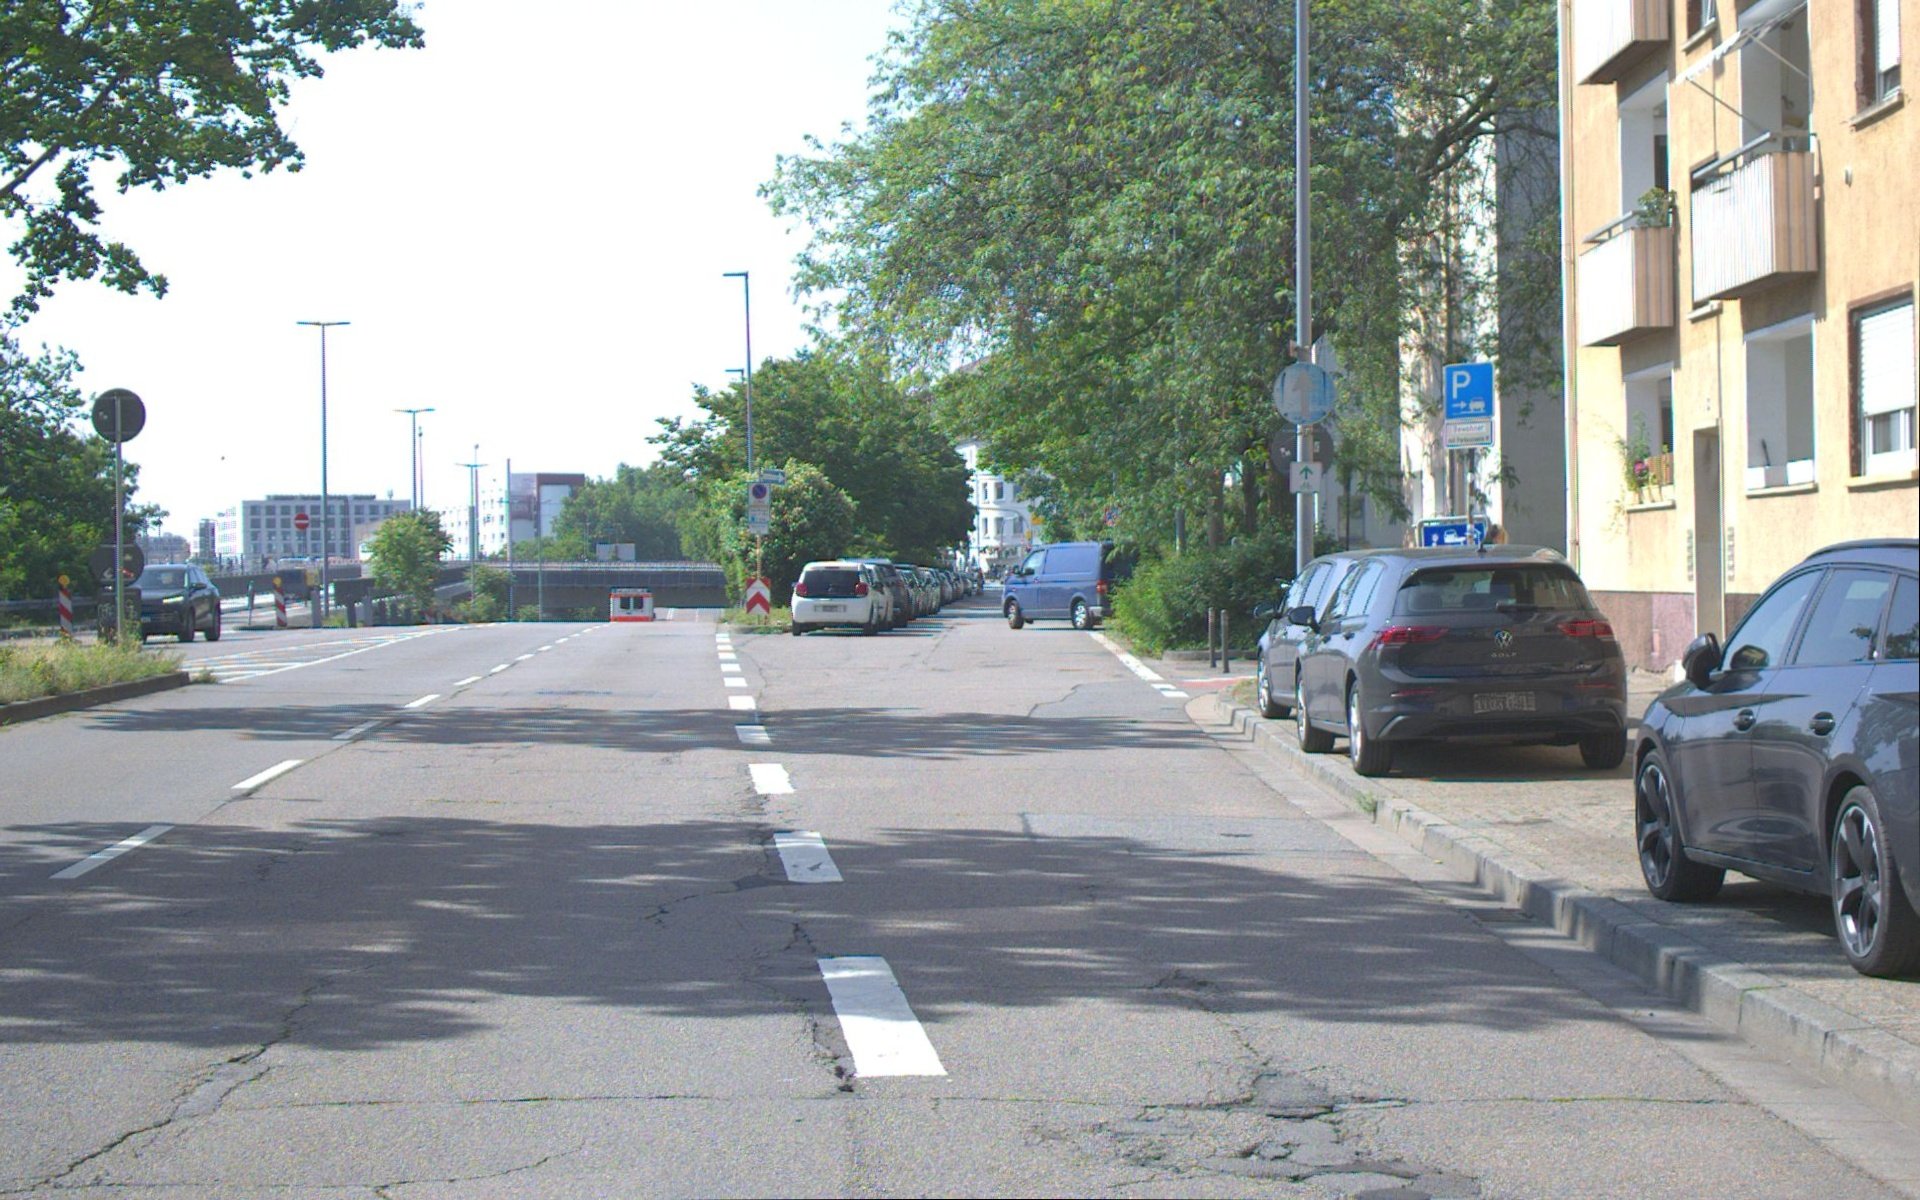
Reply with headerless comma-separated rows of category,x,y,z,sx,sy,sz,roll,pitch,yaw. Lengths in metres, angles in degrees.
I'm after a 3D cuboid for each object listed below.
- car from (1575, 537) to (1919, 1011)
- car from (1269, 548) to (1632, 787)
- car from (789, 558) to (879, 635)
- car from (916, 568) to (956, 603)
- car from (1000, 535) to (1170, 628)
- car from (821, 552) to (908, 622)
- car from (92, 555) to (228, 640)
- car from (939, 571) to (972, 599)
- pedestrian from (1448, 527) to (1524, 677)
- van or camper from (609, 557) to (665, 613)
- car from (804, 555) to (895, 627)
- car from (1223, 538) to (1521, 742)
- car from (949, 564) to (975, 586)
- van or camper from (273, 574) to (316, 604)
car,3.682,0.489,12.485,1.800,1.433,4.590,-1,1,-3
car,3.249,0.389,23.540,1.710,1.457,4.256,-1,1,-2
car,-2.549,-0.089,69.989,1.619,1.500,3.461,0,1,1
car,-1.064,-0.650,154.979,1.664,1.504,4.008,2,1,1
car,2.720,-0.430,75.860,1.882,1.915,4.009,1,1,-30
car,-2.257,-0.323,80.085,1.771,1.574,4.187,0,1,-5
car,-16.867,-0.074,72.700,1.993,1.728,4.730,0,1,-3
car,-0.252,-0.921,208.024,1.993,1.651,4.000,0,0,0
pedestrian,5.766,0.014,37.719,0.655,1.603,0.824,-3,1,2
van or camper,-16.409,-0.766,175.023,2.296,2.780,5.571,0,0,0
car,-2.372,-0.213,74.655,1.721,1.500,4.132,0,1,1
car,3.339,0.270,28.595,1.703,1.509,4.092,-2,1,-4
car,0.157,-1.904,260.680,1.993,1.651,4.000,0,0,0
van or camper,-30.745,-0.523,158.845,1.466,1.345,4.631,0,1,-5
